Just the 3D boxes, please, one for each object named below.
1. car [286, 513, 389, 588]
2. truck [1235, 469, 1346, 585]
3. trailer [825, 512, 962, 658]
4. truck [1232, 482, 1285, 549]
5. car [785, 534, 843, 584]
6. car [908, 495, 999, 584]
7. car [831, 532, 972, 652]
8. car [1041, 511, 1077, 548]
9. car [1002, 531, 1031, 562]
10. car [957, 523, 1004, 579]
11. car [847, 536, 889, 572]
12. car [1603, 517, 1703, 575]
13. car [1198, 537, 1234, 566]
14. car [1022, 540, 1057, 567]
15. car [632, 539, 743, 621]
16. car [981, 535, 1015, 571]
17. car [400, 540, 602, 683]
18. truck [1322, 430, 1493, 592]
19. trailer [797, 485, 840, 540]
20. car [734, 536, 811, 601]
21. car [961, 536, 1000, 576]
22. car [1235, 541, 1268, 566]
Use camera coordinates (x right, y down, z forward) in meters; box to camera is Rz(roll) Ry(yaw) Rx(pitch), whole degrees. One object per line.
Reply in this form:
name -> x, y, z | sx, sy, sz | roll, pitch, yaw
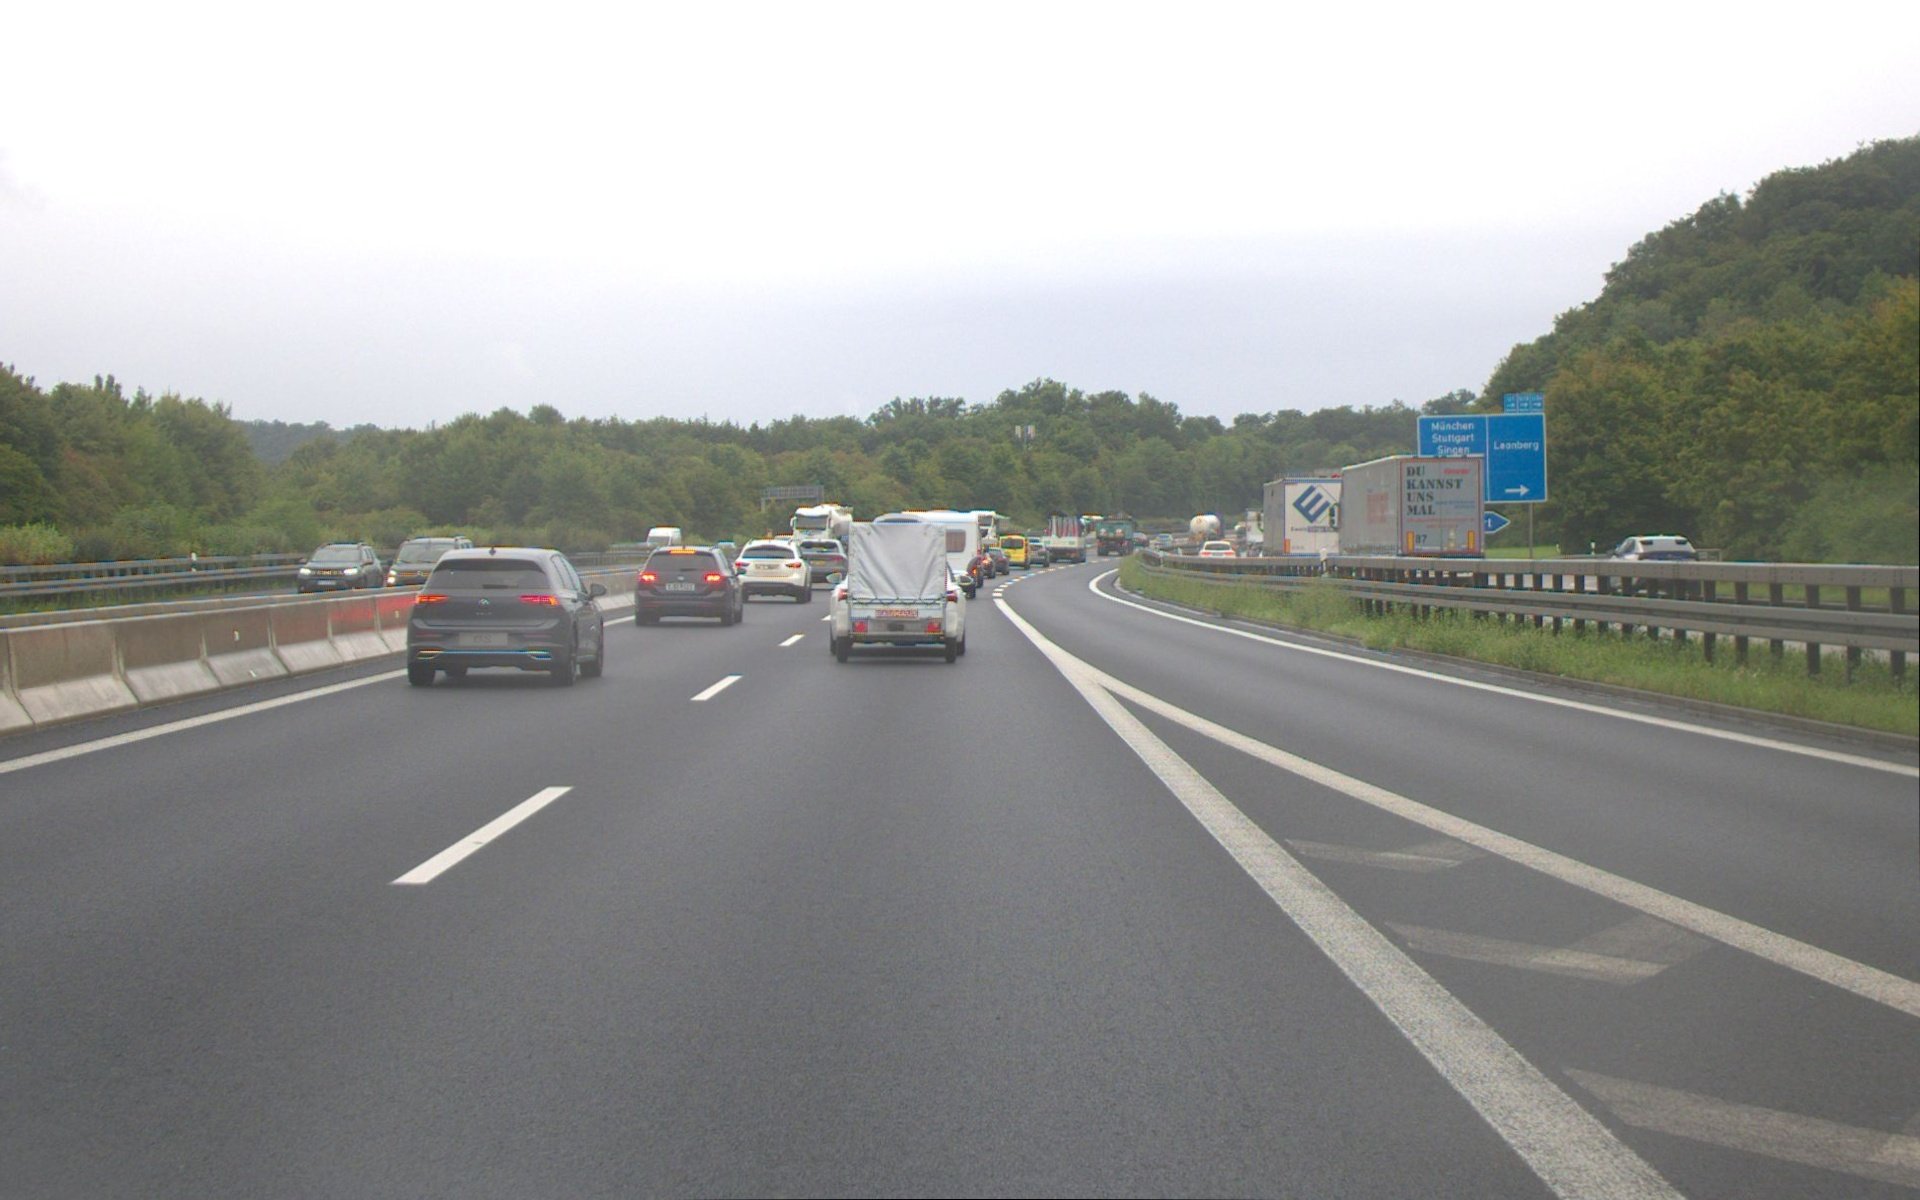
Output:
car -> -17.240, -1.364, 95.425 | 1.993, 2.007, 4.983 | 0, 1, 0
truck -> 13.802, -3.016, 144.698 | 3.215, 4.650, 13.033 | 0, 1, -1
trailer -> -0.830, -0.209, 44.941 | 1.676, 1.806, 4.000 | 1, 1, 0
truck -> 21.552, -6.030, 248.373 | 3.663, 4.650, 13.030 | 1, 1, 5
car -> -4.871, -1.380, 115.195 | 1.775, 1.634, 4.043 | 0, 1, 0
car -> -0.152, -1.794, 103.390 | 2.507, 2.576, 5.699 | 1, 1, 2
car -> -0.775, -0.137, 48.646 | 1.818, 1.610, 4.778 | 1, 1, 1
car -> 7.070, -5.027, 244.951 | 2.516, 2.566, 5.312 | 1, 1, 2
car -> 3.369, -3.190, 205.225 | 1.676, 1.806, 4.000 | 1, 1, 2
car -> 0.781, -1.849, 129.939 | 1.676, 2.060, 4.000 | 1, 1, 2
car -> -4.227, -2.127, 158.101 | 1.775, 1.634, 4.043 | 1, 1, 1
car -> 17.826, -1.382, 88.555 | 1.675, 1.451, 4.000 | 0, 1, -1
car -> 12.747, -2.414, 171.320 | 1.676, 1.451, 4.000 | 1, 1, 3
car -> 5.077, -2.984, 218.978 | 2.038, 1.677, 3.999 | 1, 1, 5
car -> -5.021, -0.379, 63.745 | 1.765, 1.451, 4.000 | 0, 1, 0
car -> 1.959, -2.415, 176.890 | 1.676, 1.806, 4.000 | 1, 1, 2
car -> -4.927, 0.095, 37.328 | 1.676, 1.451, 4.000 | 0, 1, 0
truck -> 13.590, -2.639, 105.685 | 3.215, 4.650, 13.033 | 0, 1, -1
trailer -> -9.784, -6.025, 238.187 | 2.636, 3.703, 6.492 | 1, 1, 1
car -> -4.872, -0.831, 89.729 | 1.775, 1.634, 4.043 | 1, 1, 0
car -> 0.968, -2.030, 159.873 | 1.676, 1.806, 4.000 | 1, 1, 2
car -> 17.158, -2.750, 202.633 | 1.676, 1.451, 4.000 | 1, 1, 1
